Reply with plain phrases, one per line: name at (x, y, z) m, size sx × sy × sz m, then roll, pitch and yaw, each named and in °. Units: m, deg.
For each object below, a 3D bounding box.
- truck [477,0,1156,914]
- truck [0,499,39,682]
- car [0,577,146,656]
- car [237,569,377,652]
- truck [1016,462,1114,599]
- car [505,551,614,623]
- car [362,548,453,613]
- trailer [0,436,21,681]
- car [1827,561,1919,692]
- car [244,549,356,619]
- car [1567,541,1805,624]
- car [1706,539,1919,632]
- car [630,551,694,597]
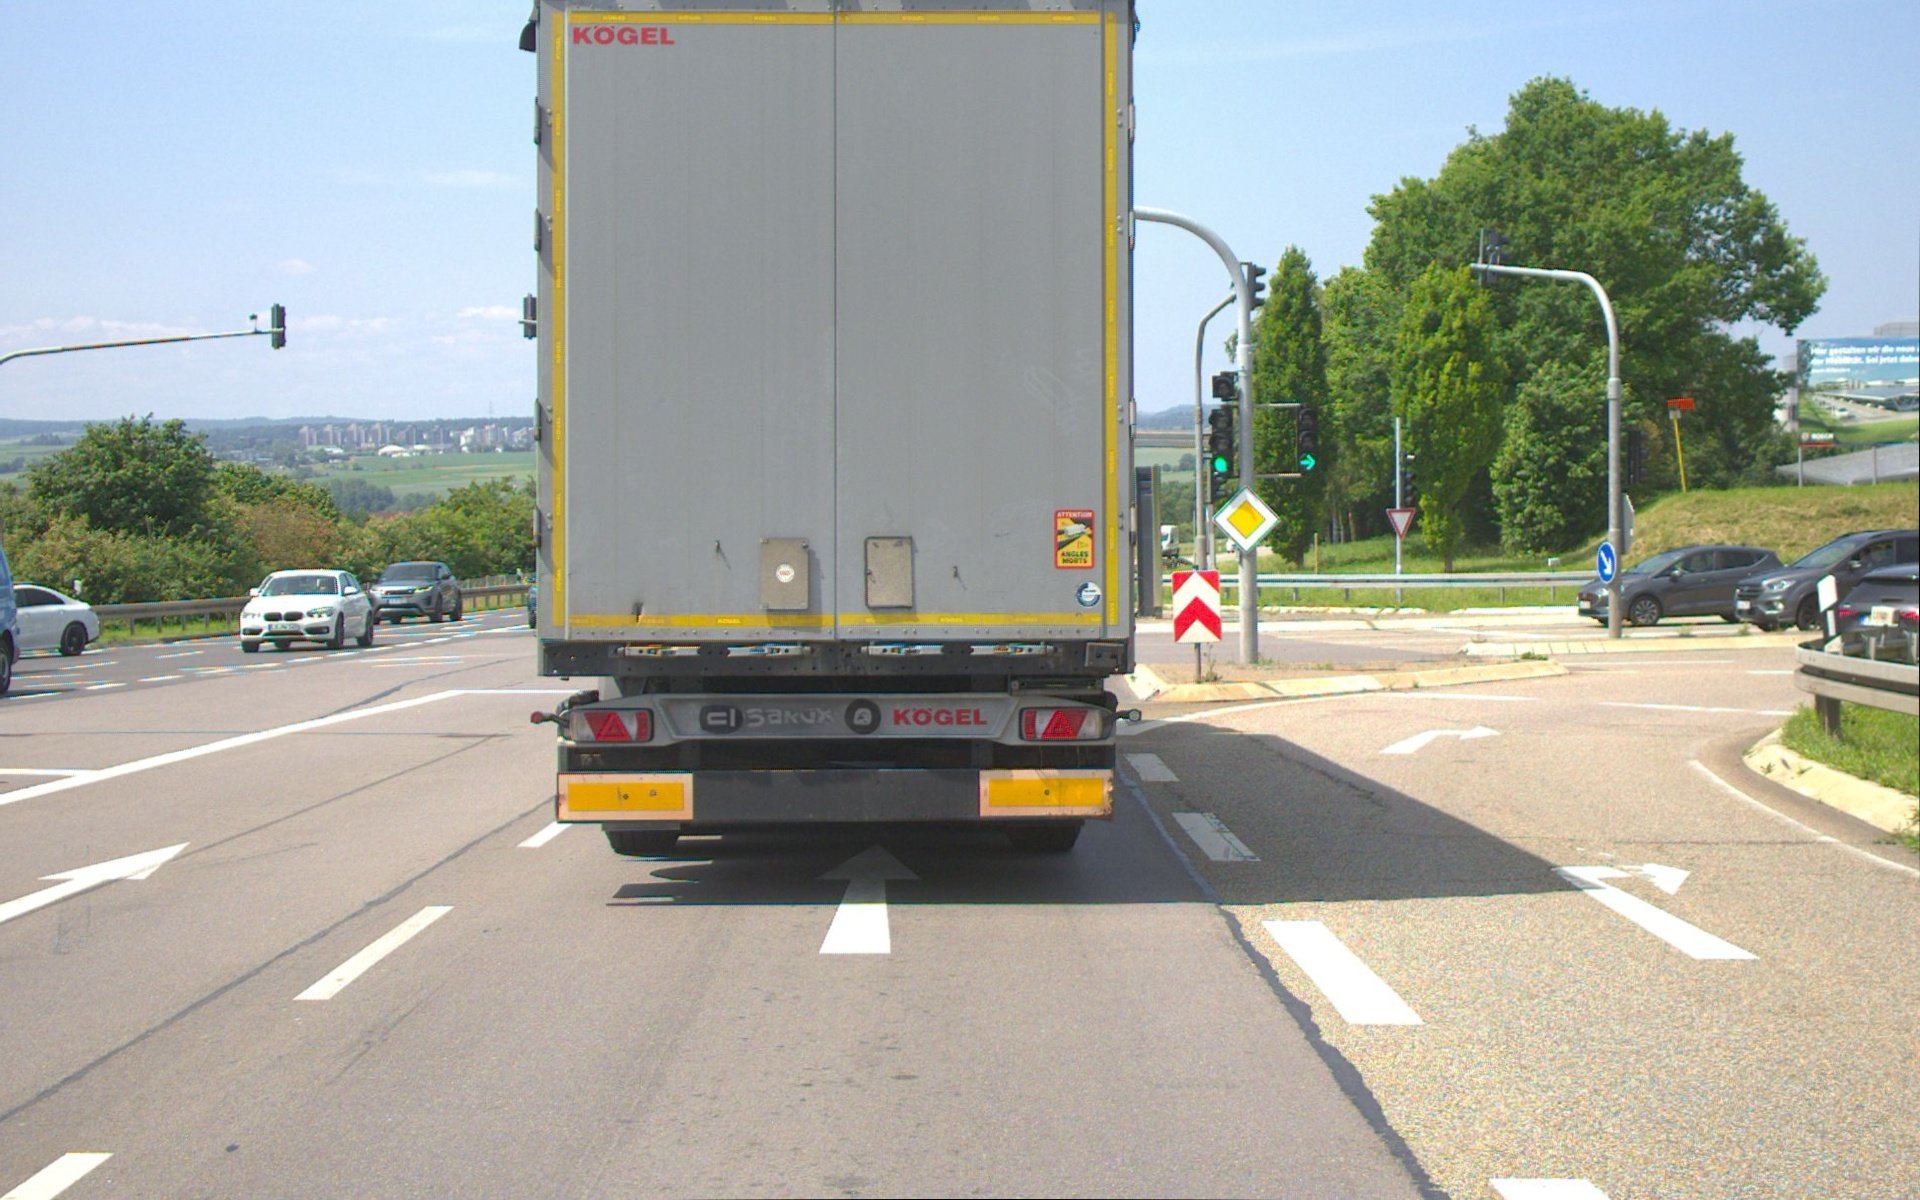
truck at (-0.781, -0.726, 20.031) m, size 2.799 × 3.916 × 11.342 m, roll 1°, pitch 1°, yaw -2°
truck at (-12.266, -0.095, 39.701) m, size 1.966 × 2.150 × 4.623 m, roll -1°, pitch 0°, yaw 1°
car at (-17.580, 0.298, 65.814) m, size 1.630 × 1.455 × 4.488 m, roll 1°, pitch 0°, yaw 21°
car at (-11.839, 0.174, 62.516) m, size 1.772 × 1.429 × 4.000 m, roll -1°, pitch 0°, yaw 0°
truck at (3.055, -1.932, 99.320) m, size 2.655 × 3.752 × 10.161 m, roll 1°, pitch 0°, yaw 2°
car at (-8.746, -0.283, 75.291) m, size 1.755 × 1.464 × 4.196 m, roll 2°, pitch 0°, yaw 1°
car at (-14.631, -0.512, 91.255) m, size 1.644 × 1.618 × 4.328 m, roll -2°, pitch 0°, yaw 0°
trailer at (-16.143, -0.578, 43.593) m, size 2.639 × 3.750 × 19.798 m, roll -1°, pitch 0°, yaw 1°
car at (12.396, 0.314, 41.992) m, size 1.750 × 1.527 × 4.288 m, roll 1°, pitch 0°, yaw 41°
car at (-14.922, -0.361, 77.876) m, size 1.644 × 1.491 × 3.801 m, roll -2°, pitch 0°, yaw 2°
car at (13.508, -0.332, 64.056) m, size 3.986 × 1.505 × 1.717 m, roll -1°, pitch 0°, yaw -9°
car at (14.953, -0.258, 57.889) m, size 4.357 × 1.505 × 1.717 m, roll -1°, pitch 0°, yaw -12°
car at (-10.234, -0.899, 118.237) m, size 1.644 × 1.491 × 4.066 m, roll -2°, pitch 1°, yaw 2°
